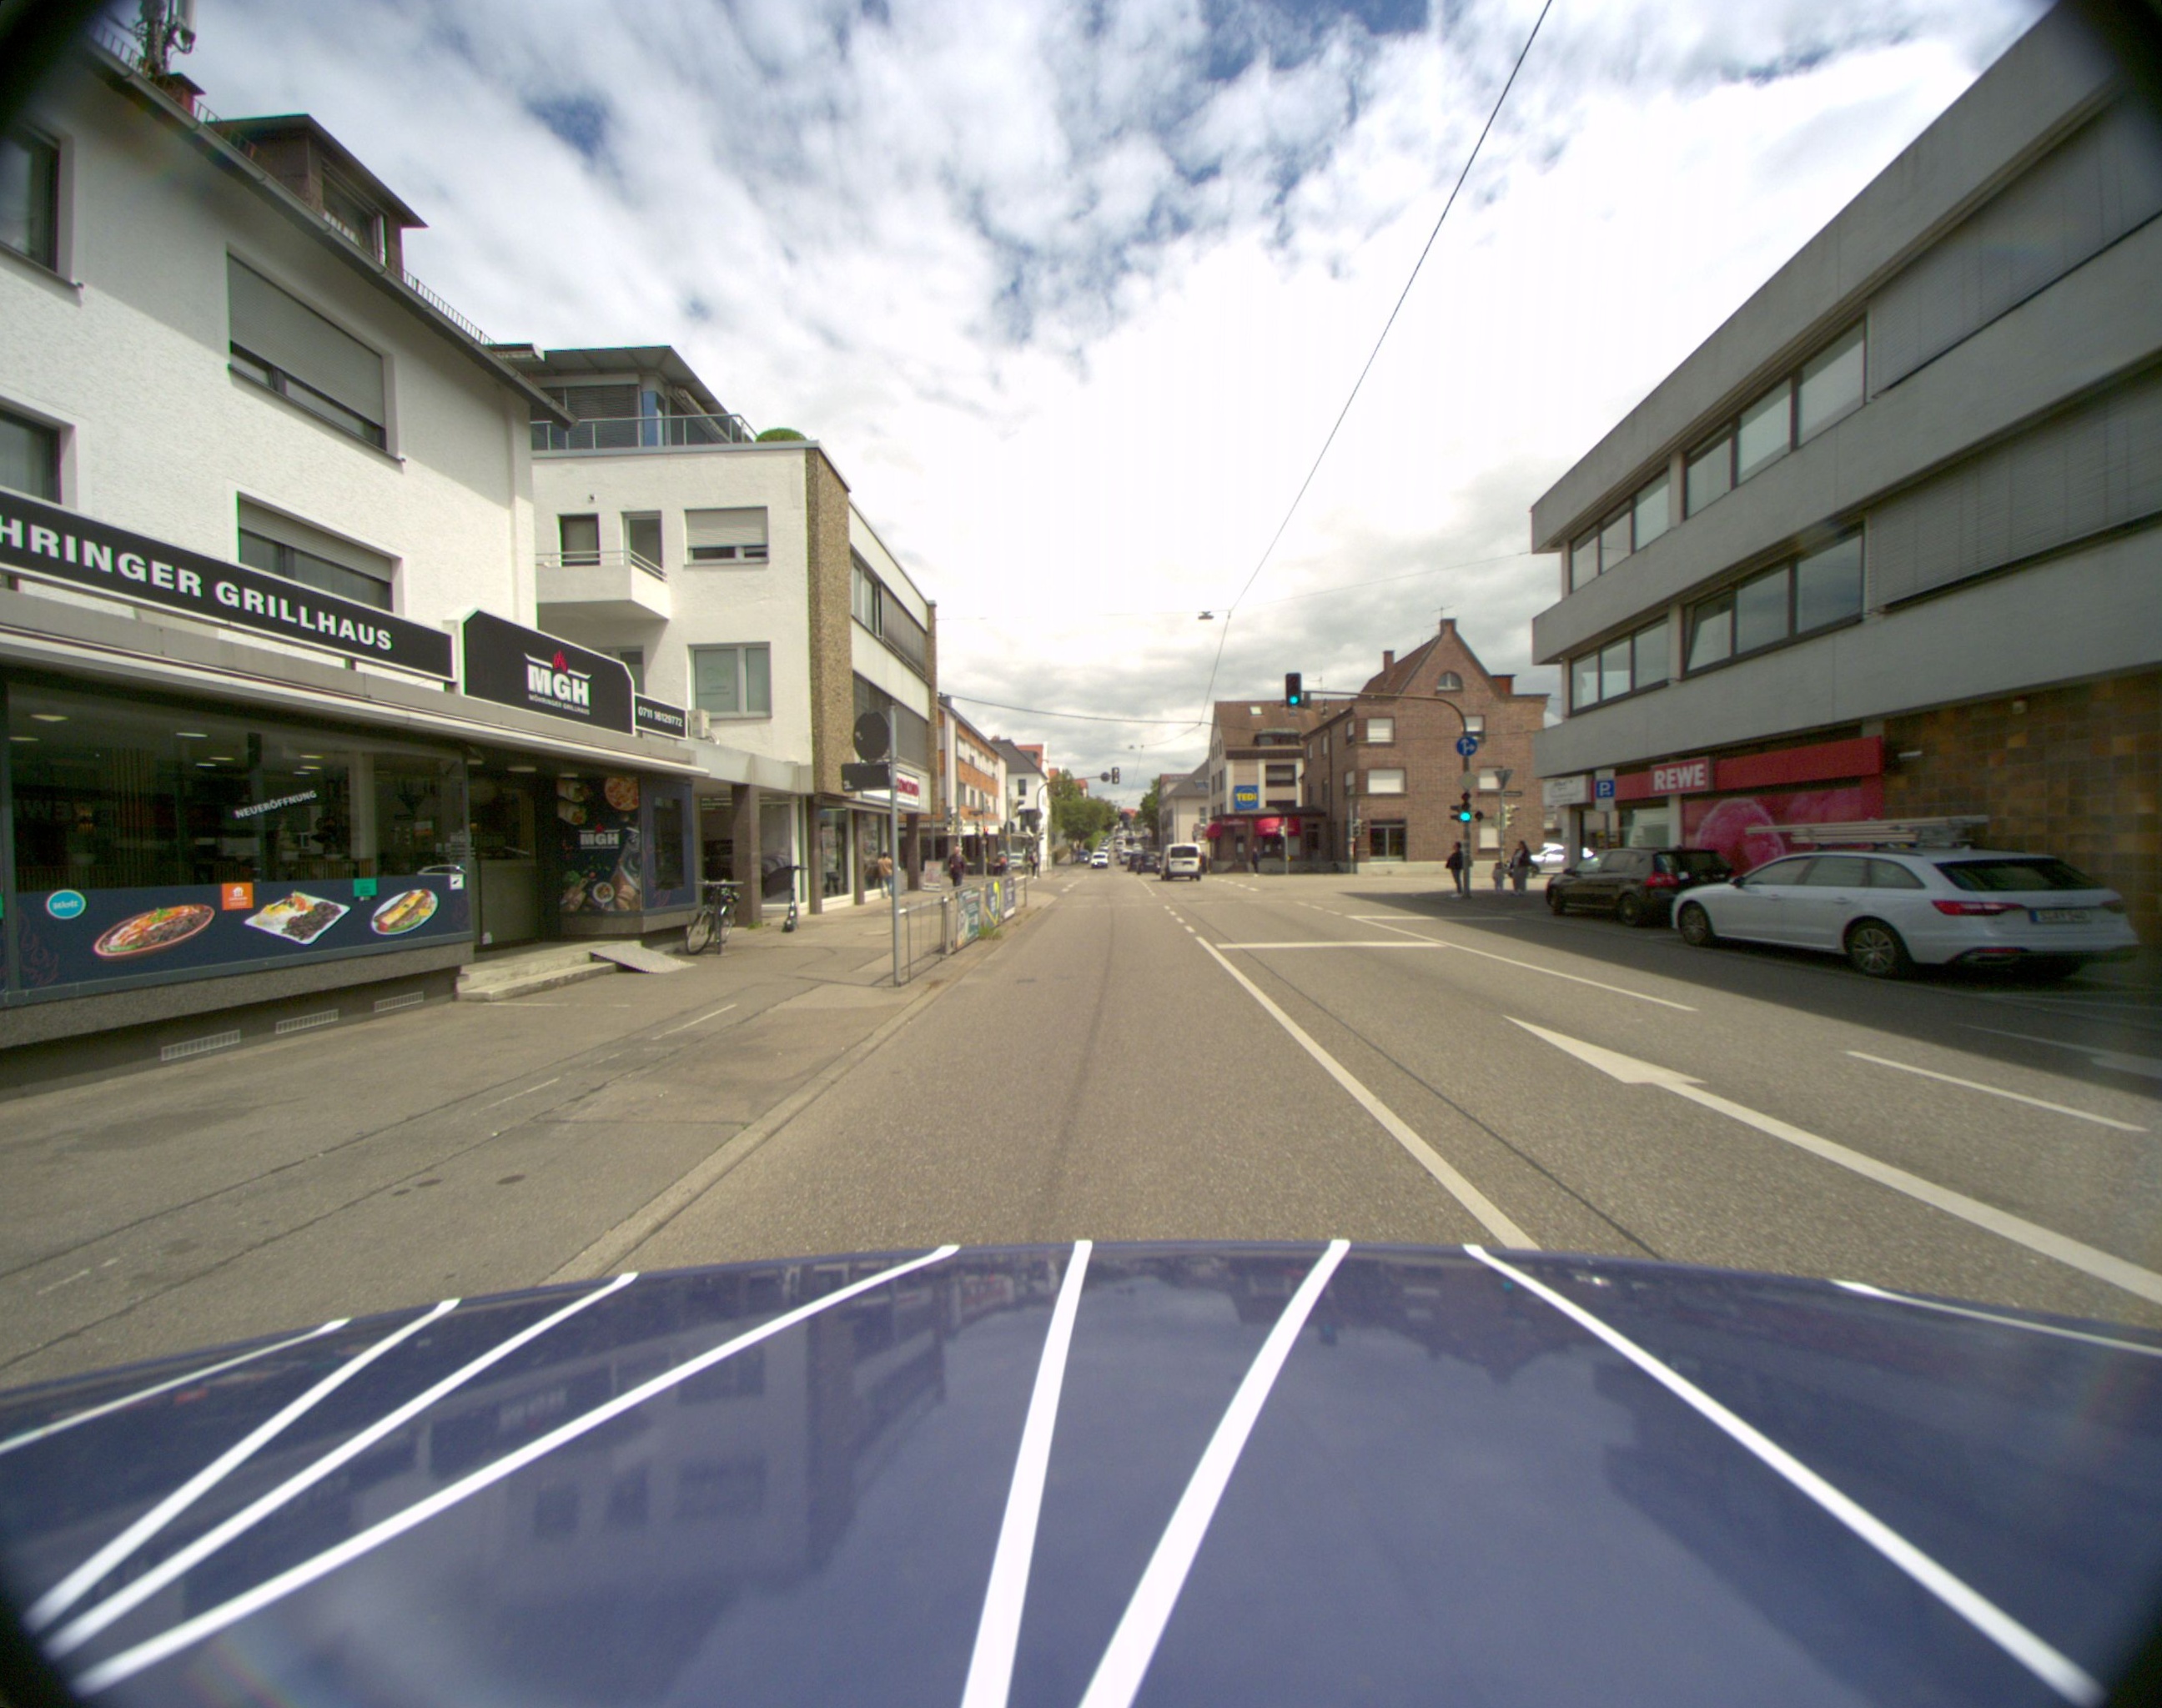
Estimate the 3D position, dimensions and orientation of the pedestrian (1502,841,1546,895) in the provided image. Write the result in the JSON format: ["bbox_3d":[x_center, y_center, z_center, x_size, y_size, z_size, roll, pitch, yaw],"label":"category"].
[{"bbox_3d":[13.085,0.416,22.467,0.820,1.546,0.846,-2,1,8],"label":"pedestrian"}]

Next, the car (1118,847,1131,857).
[{"bbox_3d":[6.460,-0.257,112.719,1.757,1.479,3.970,0,0,0],"label":"car"}]

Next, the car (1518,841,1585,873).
[{"bbox_3d":[28.516,0.154,46.159,1.869,1.852,3.702,0,0,2],"label":"car"}]

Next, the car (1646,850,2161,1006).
[{"bbox_3d":[9.935,0.709,9.757,2.048,1.436,4.954,-2,0,6],"label":"car"}]

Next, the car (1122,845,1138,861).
[{"bbox_3d":[6.067,-0.141,94.163,1.819,1.919,4.113,0,0,3],"label":"car"}]

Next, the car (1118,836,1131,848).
[{"bbox_3d":[7.559,-2.078,132.610,1.981,1.985,5.028,0,0,0],"label":"car"}]

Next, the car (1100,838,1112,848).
[{"bbox_3d":[4.311,-1.843,132.036,1.998,1.654,4.000,0,1,2],"label":"car"}]

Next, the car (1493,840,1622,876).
[{"bbox_3d":[24.260,0.221,38.828,5.254,1.758,2.001,0,0,5],"label":"car"}]

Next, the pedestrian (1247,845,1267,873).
[{"bbox_3d":[10.643,0.297,45.935,0.908,1.713,0.849,-1,1,-39],"label":"pedestrian"}]

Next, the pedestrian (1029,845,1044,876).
[{"bbox_3d":[-2.688,0.386,45.705,0.581,1.820,0.882,1,1,18],"label":"pedestrian"}]

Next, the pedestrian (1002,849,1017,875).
[{"bbox_3d":[-4.209,0.479,44.761,0.779,1.517,0.819,0,1,5],"label":"pedestrian"}]

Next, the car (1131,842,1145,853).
[{"bbox_3d":[9.488,-1.053,127.556,2.110,1.778,4.530,-1,1,2],"label":"car"}]

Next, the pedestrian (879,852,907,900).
[{"bbox_3d":[-6.011,0.694,24.273,0.681,1.490,0.720,0,1,2],"label":"pedestrian"}]

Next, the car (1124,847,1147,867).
[{"bbox_3d":[5.238,0.261,73.423,1.953,1.866,4.876,0,1,1],"label":"car"}]

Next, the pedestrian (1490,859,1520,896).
[{"bbox_3d":[12.629,0.702,22.623,0.560,1.051,0.662,-2,1,8],"label":"pedestrian"}]

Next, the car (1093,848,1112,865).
[{"bbox_3d":[2.353,0.284,84.155,1.999,1.797,4.765,-1,1,0],"label":"car"}]

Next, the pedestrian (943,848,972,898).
[{"bbox_3d":[-4.152,0.621,25.614,0.796,1.661,0.807,0,1,2],"label":"pedestrian"}]

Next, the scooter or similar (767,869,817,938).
[{"bbox_3d":[-5.708,0.953,15.067,0.690,1.260,1.184,0,1,-10],"label":"scooter or similar"}]

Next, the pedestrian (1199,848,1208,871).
[{"bbox_3d":[9.360,0.433,57.906,0.683,1.706,0.878,0,1,8],"label":"pedestrian"}]

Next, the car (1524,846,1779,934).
[{"bbox_3d":[11.010,0.607,15.151,2.049,1.467,4.286,-2,0,4],"label":"car"}]

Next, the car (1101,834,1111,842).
[{"bbox_3d":[5.459,-3.517,165.083,1.998,1.654,4.000,0,1,2],"label":"car"}]

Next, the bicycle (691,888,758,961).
[{"bbox_3d":[-5.756,1.100,12.352,0.476,1.022,1.635,0,1,-7],"label":"bicycle"}]

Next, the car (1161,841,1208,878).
[{"bbox_3d":[5.261,0.247,39.116,1.950,1.810,4.278,0,0,2],"label":"car"}]

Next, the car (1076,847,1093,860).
[{"bbox_3d":[0.442,-0.100,98.767,1.998,1.654,4.000,0,1,2],"label":"car"}]

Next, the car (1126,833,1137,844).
[{"bbox_3d":[10.515,-3.185,159.077,2.110,2.109,4.765,-1,1,2],"label":"car"}]

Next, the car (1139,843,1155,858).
[{"bbox_3d":[9.417,-0.539,108.536,2.110,2.109,4.765,-1,1,2],"label":"car"}]

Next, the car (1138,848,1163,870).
[{"bbox_3d":[5.252,0.348,57.880,1.681,1.626,2.833,0,1,1],"label":"car"}]

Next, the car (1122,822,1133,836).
[{"bbox_3d":[12.452,-6.600,203.252,2.428,3.409,7.637,0,0,0],"label":"car"}]

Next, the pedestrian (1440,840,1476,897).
[{"bbox_3d":[11.183,0.432,22.562,0.719,1.635,0.682,-2,1,7],"label":"pedestrian"}]

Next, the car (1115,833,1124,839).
[{"bbox_3d":[8.728,-4.005,171.089,1.858,1.414,4.193,0,0,0],"label":"car"}]
